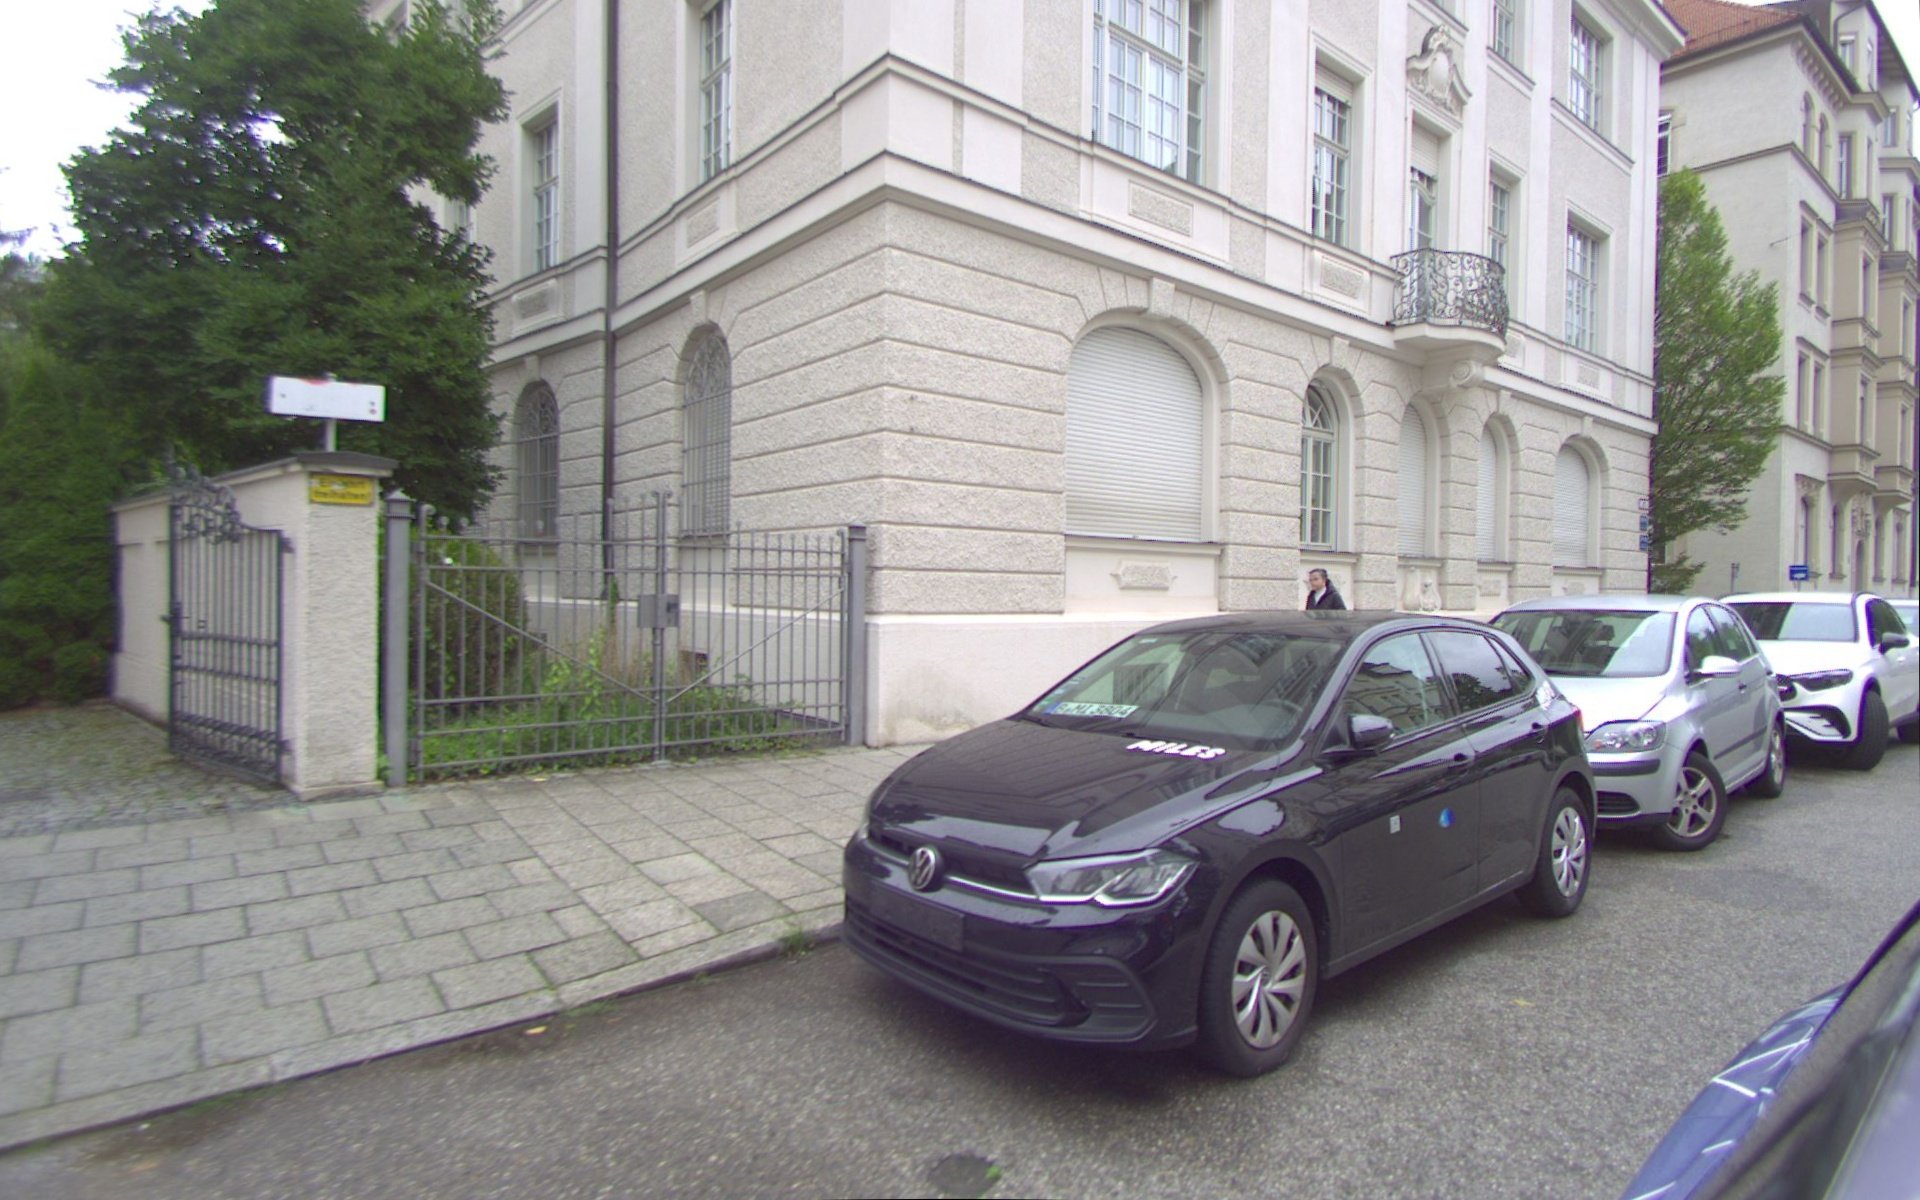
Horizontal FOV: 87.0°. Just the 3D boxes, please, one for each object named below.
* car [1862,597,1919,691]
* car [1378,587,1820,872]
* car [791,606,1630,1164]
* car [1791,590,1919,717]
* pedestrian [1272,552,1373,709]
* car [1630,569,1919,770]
[{"bbox_3d":[16.864,0.723,17.151,4.148,1.470,1.715,1,0,-39],"label":"car"},{"bbox_3d":[4.802,0.681,7.381,3.931,1.520,1.711,0,1,-42],"label":"car"},{"bbox_3d":[1.373,0.745,4.492,3.928,1.413,1.615,0,0,-40],"label":"car"},{"bbox_3d":[13.177,0.659,14.024,4.094,1.544,1.753,0,1,-39],"label":"car"},{"bbox_3d":[4.126,0.326,11.520,0.797,1.699,0.684,1,3,-40],"label":"pedestrian"},{"bbox_3d":[8.835,0.585,10.455,4.310,1.657,1.901,1,1,-38],"label":"car"}]
